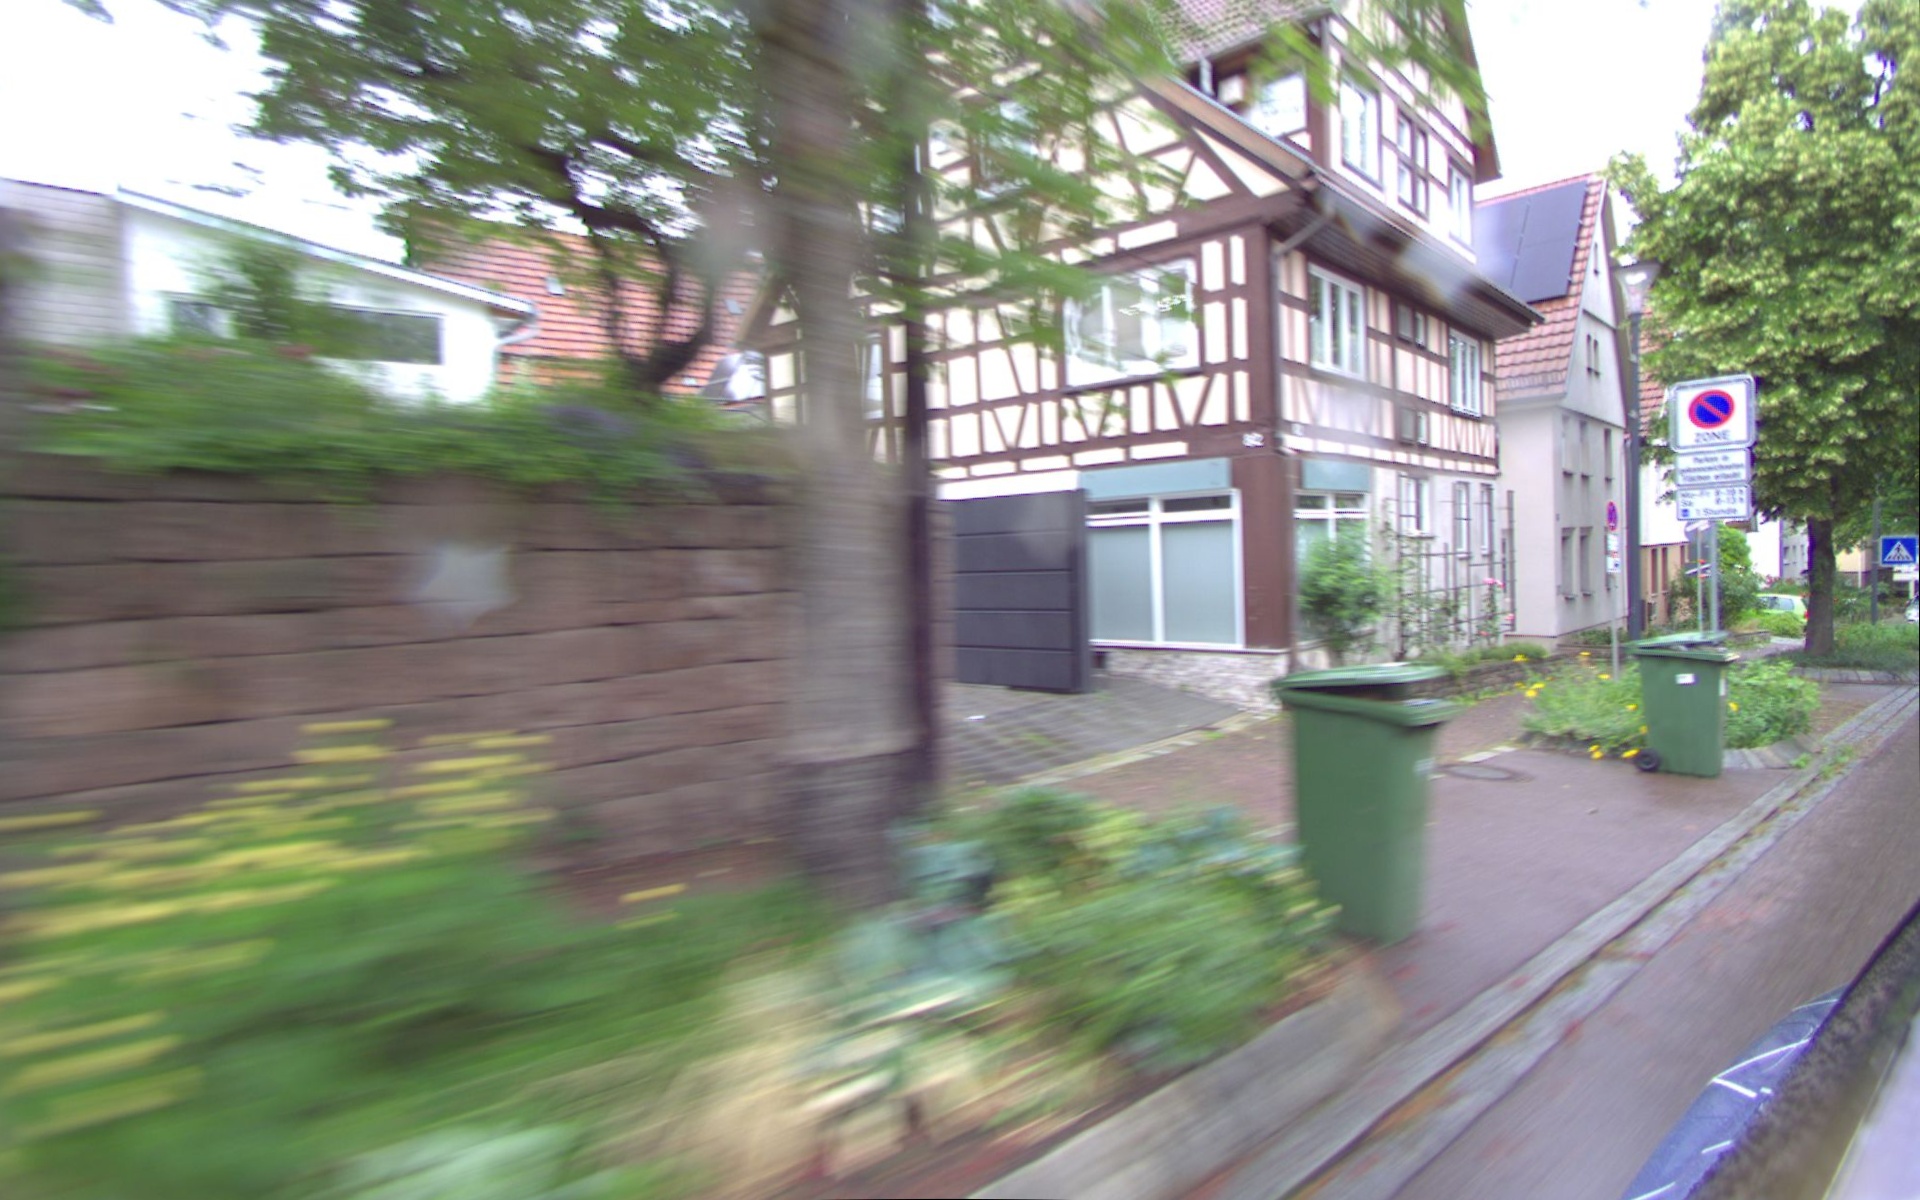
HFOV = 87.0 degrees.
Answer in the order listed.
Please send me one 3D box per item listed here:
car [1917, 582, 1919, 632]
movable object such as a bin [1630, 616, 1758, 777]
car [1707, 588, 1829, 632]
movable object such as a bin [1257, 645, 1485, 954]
[{"bbox_3d":[37.078,0.243,37.581,4.412,1.815,1.917,-1,1,-42],"label":"car"},{"bbox_3d":[6.088,0.761,8.395,0.714,1.228,0.722,0,0,-42],"label":"movable object such as a bin"},{"bbox_3d":[30.072,0.328,37.702,1.604,1.448,3.367,-1,3,-45],"label":"car"},{"bbox_3d":[1.821,0.808,4.487,0.692,1.157,0.724,0,0,-44],"label":"movable object such as a bin"}]
